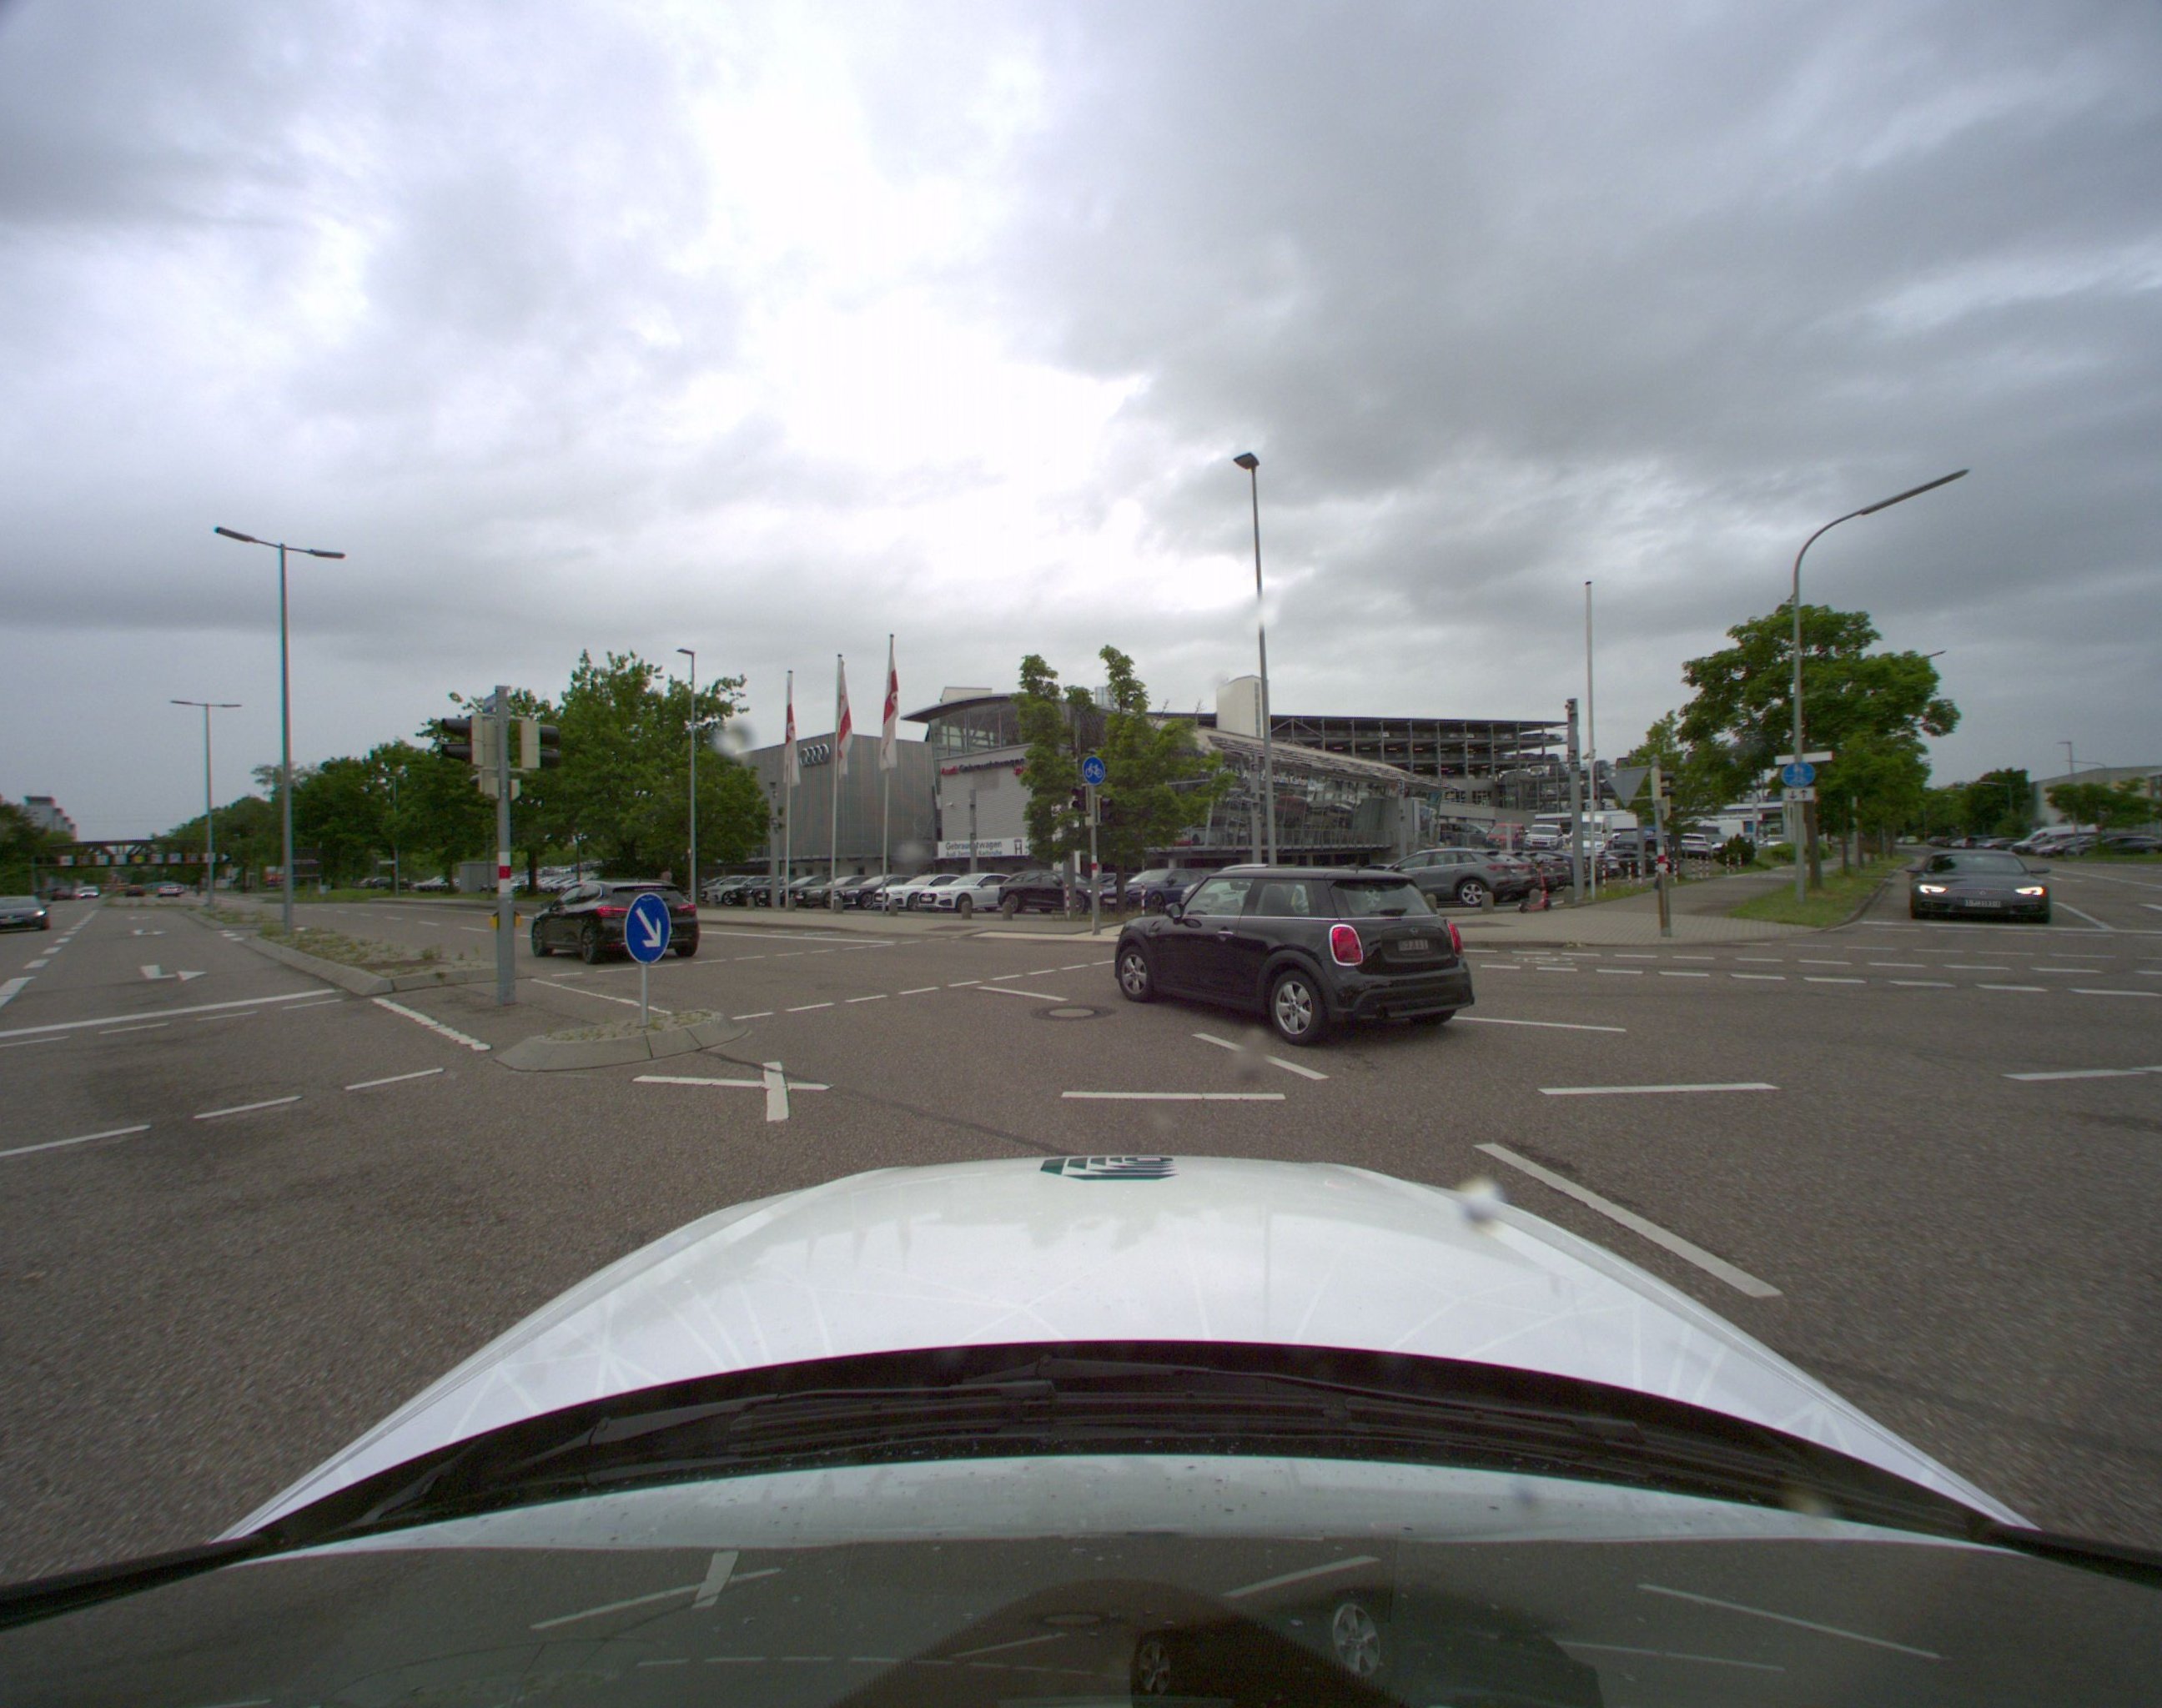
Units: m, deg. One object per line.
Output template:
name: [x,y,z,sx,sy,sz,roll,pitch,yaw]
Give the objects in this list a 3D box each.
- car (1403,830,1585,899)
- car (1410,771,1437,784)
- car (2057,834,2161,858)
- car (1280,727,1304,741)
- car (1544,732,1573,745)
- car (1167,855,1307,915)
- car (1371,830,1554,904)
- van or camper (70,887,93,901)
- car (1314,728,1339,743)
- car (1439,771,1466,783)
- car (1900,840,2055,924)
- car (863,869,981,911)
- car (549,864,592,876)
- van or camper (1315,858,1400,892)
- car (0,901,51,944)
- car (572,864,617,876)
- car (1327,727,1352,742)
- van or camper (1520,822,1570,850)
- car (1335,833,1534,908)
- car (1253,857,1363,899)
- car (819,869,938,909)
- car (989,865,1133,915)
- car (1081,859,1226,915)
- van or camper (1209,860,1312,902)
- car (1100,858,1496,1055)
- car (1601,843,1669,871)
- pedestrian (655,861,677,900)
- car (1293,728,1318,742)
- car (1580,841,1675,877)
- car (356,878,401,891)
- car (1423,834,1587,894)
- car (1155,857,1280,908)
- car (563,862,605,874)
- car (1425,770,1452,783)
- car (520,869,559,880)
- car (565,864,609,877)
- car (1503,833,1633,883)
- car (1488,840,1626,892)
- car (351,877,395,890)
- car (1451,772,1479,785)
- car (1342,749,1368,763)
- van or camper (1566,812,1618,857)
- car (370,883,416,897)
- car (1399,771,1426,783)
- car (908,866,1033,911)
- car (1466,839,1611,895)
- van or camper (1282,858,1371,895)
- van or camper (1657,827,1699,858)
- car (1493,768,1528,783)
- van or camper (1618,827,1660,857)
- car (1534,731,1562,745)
car: [13.784,0.406,27.332,4.974,2.014,2.280,-4,-3,40]
car: [55.074,-12.280,130.991,1.996,1.667,3.982,-1,0,-13]
car: [76.334,-0.594,60.186,5.125,1.720,2.156,0,0,42]
car: [32.475,-18.457,125.430,1.996,1.667,3.982,-1,0,-13]
car: [81.002,-19.633,138.236,1.996,1.667,3.982,-1,0,-13]
car: [4.349,0.856,22.285,1.851,1.486,4.255,-3,-3,41]
car: [11.699,0.453,25.139,4.655,2.014,2.012,-4,-3,40]
van or camper: [-143.600,5.691,117.022,4.350,1.746,1.772,-1,3,41]
car: [38.084,-18.419,126.455,1.996,1.667,3.982,-1,0,-13]
car: [60.347,-12.477,132.346,1.996,1.667,3.982,-1,0,-13]
car: [18.844,0.506,17.320,4.641,1.551,1.960,-1,0,-45]
car: [-5.891,1.355,30.539,1.853,1.486,4.068,-2,-4,41]
car: [-64.849,2.071,103.535,1.708,1.436,4.239,0,0,40]
van or camper: [14.963,1.105,44.187,3.949,1.711,1.858,0,0,41]
car: [-43.295,2.753,32.910,4.276,1.462,1.875,-1,2,41]
car: [-57.516,1.867,96.385,1.922,1.436,4.124,0,0,40]
car: [40.351,-18.618,127.294,1.996,1.667,3.982,-1,0,-13]
van or camper: [28.763,-1.092,50.424,1.974,1.651,4.025,0,0,40]
car: [9.979,0.520,23.204,4.725,1.863,2.012,-4,-3,40]
car: [11.108,1.179,40.054,4.756,1.939,2.012,-2,-1,42]
car: [-7.969,1.395,32.313,1.847,1.486,4.257,-2,-4,41]
car: [-0.743,1.193,26.810,4.694,1.486,1.904,-2,-4,41]
car: [2.242,1.018,24.110,2.043,1.486,4.544,-4,-5,39]
van or camper: [7.853,1.146,35.865,3.949,1.677,2.012,0,0,41]
car: [1.807,0.779,7.906,1.795,1.416,3.612,0,-1,-26]
car: [41.014,0.216,60.350,3.949,2.013,2.012,0,0,42]
pedestrian: [-20.424,1.296,40.066,0.665,1.871,0.724,-2,-3,41]
car: [34.790,-18.441,126.216,1.996,1.667,3.982,-1,0,-13]
car: [28.914,0.246,43.152,3.949,1.838,1.770,0,0,42]
car: [-84.886,3.694,98.417,4.022,1.436,1.709,0,0,-43]
car: [15.262,0.404,29.454,4.898,1.876,2.067,-4,-3,38]
car: [5.625,1.162,33.912,4.756,1.939,2.012,-2,-1,42]
car: [-61.074,1.737,100.093,1.708,1.436,4.124,0,0,40]
car: [57.908,-12.497,131.856,1.996,1.667,3.982,-1,0,-13]
car: [-74.047,2.834,111.307,1.708,1.436,4.124,0,0,40]
car: [-59.406,1.966,97.972,1.708,1.436,4.124,0,0,40]
car: [22.527,0.219,37.773,4.845,2.014,2.012,-4,-3,40]
car: [20.709,0.561,35.564,4.845,2.014,2.012,-4,-3,40]
car: [-86.767,3.645,99.799,4.022,1.436,1.709,0,0,-43]
car: [62.840,-12.385,133.319,1.996,1.667,3.982,-1,0,-13]
car: [42.903,-15.277,127.470,1.996,1.667,3.982,-1,0,-13]
van or camper: [36.776,-1.336,58.571,2.511,3.026,4.873,0,0,41]
car: [-80.079,4.138,94.801,4.022,1.436,1.709,0,0,-43]
car: [52.982,-12.292,130.276,1.996,1.667,3.982,-1,0,-13]
car: [-3.849,1.236,29.000,1.829,1.486,4.223,-2,-4,41]
car: [18.810,0.578,33.593,4.845,2.014,2.012,-4,-3,40]
van or camper: [12.515,1.103,41.682,3.949,1.816,1.858,0,0,41]
van or camper: [40.455,-0.767,55.169,1.974,2.013,4.025,0,0,41]
car: [72.261,-13.165,137.061,2.209,1.945,5.301,-1,0,-17]
van or camper: [38.774,-0.778,56.569,1.974,2.013,4.025,0,0,41]
car: [78.859,-19.598,137.610,1.996,1.667,3.982,-1,0,-13]
